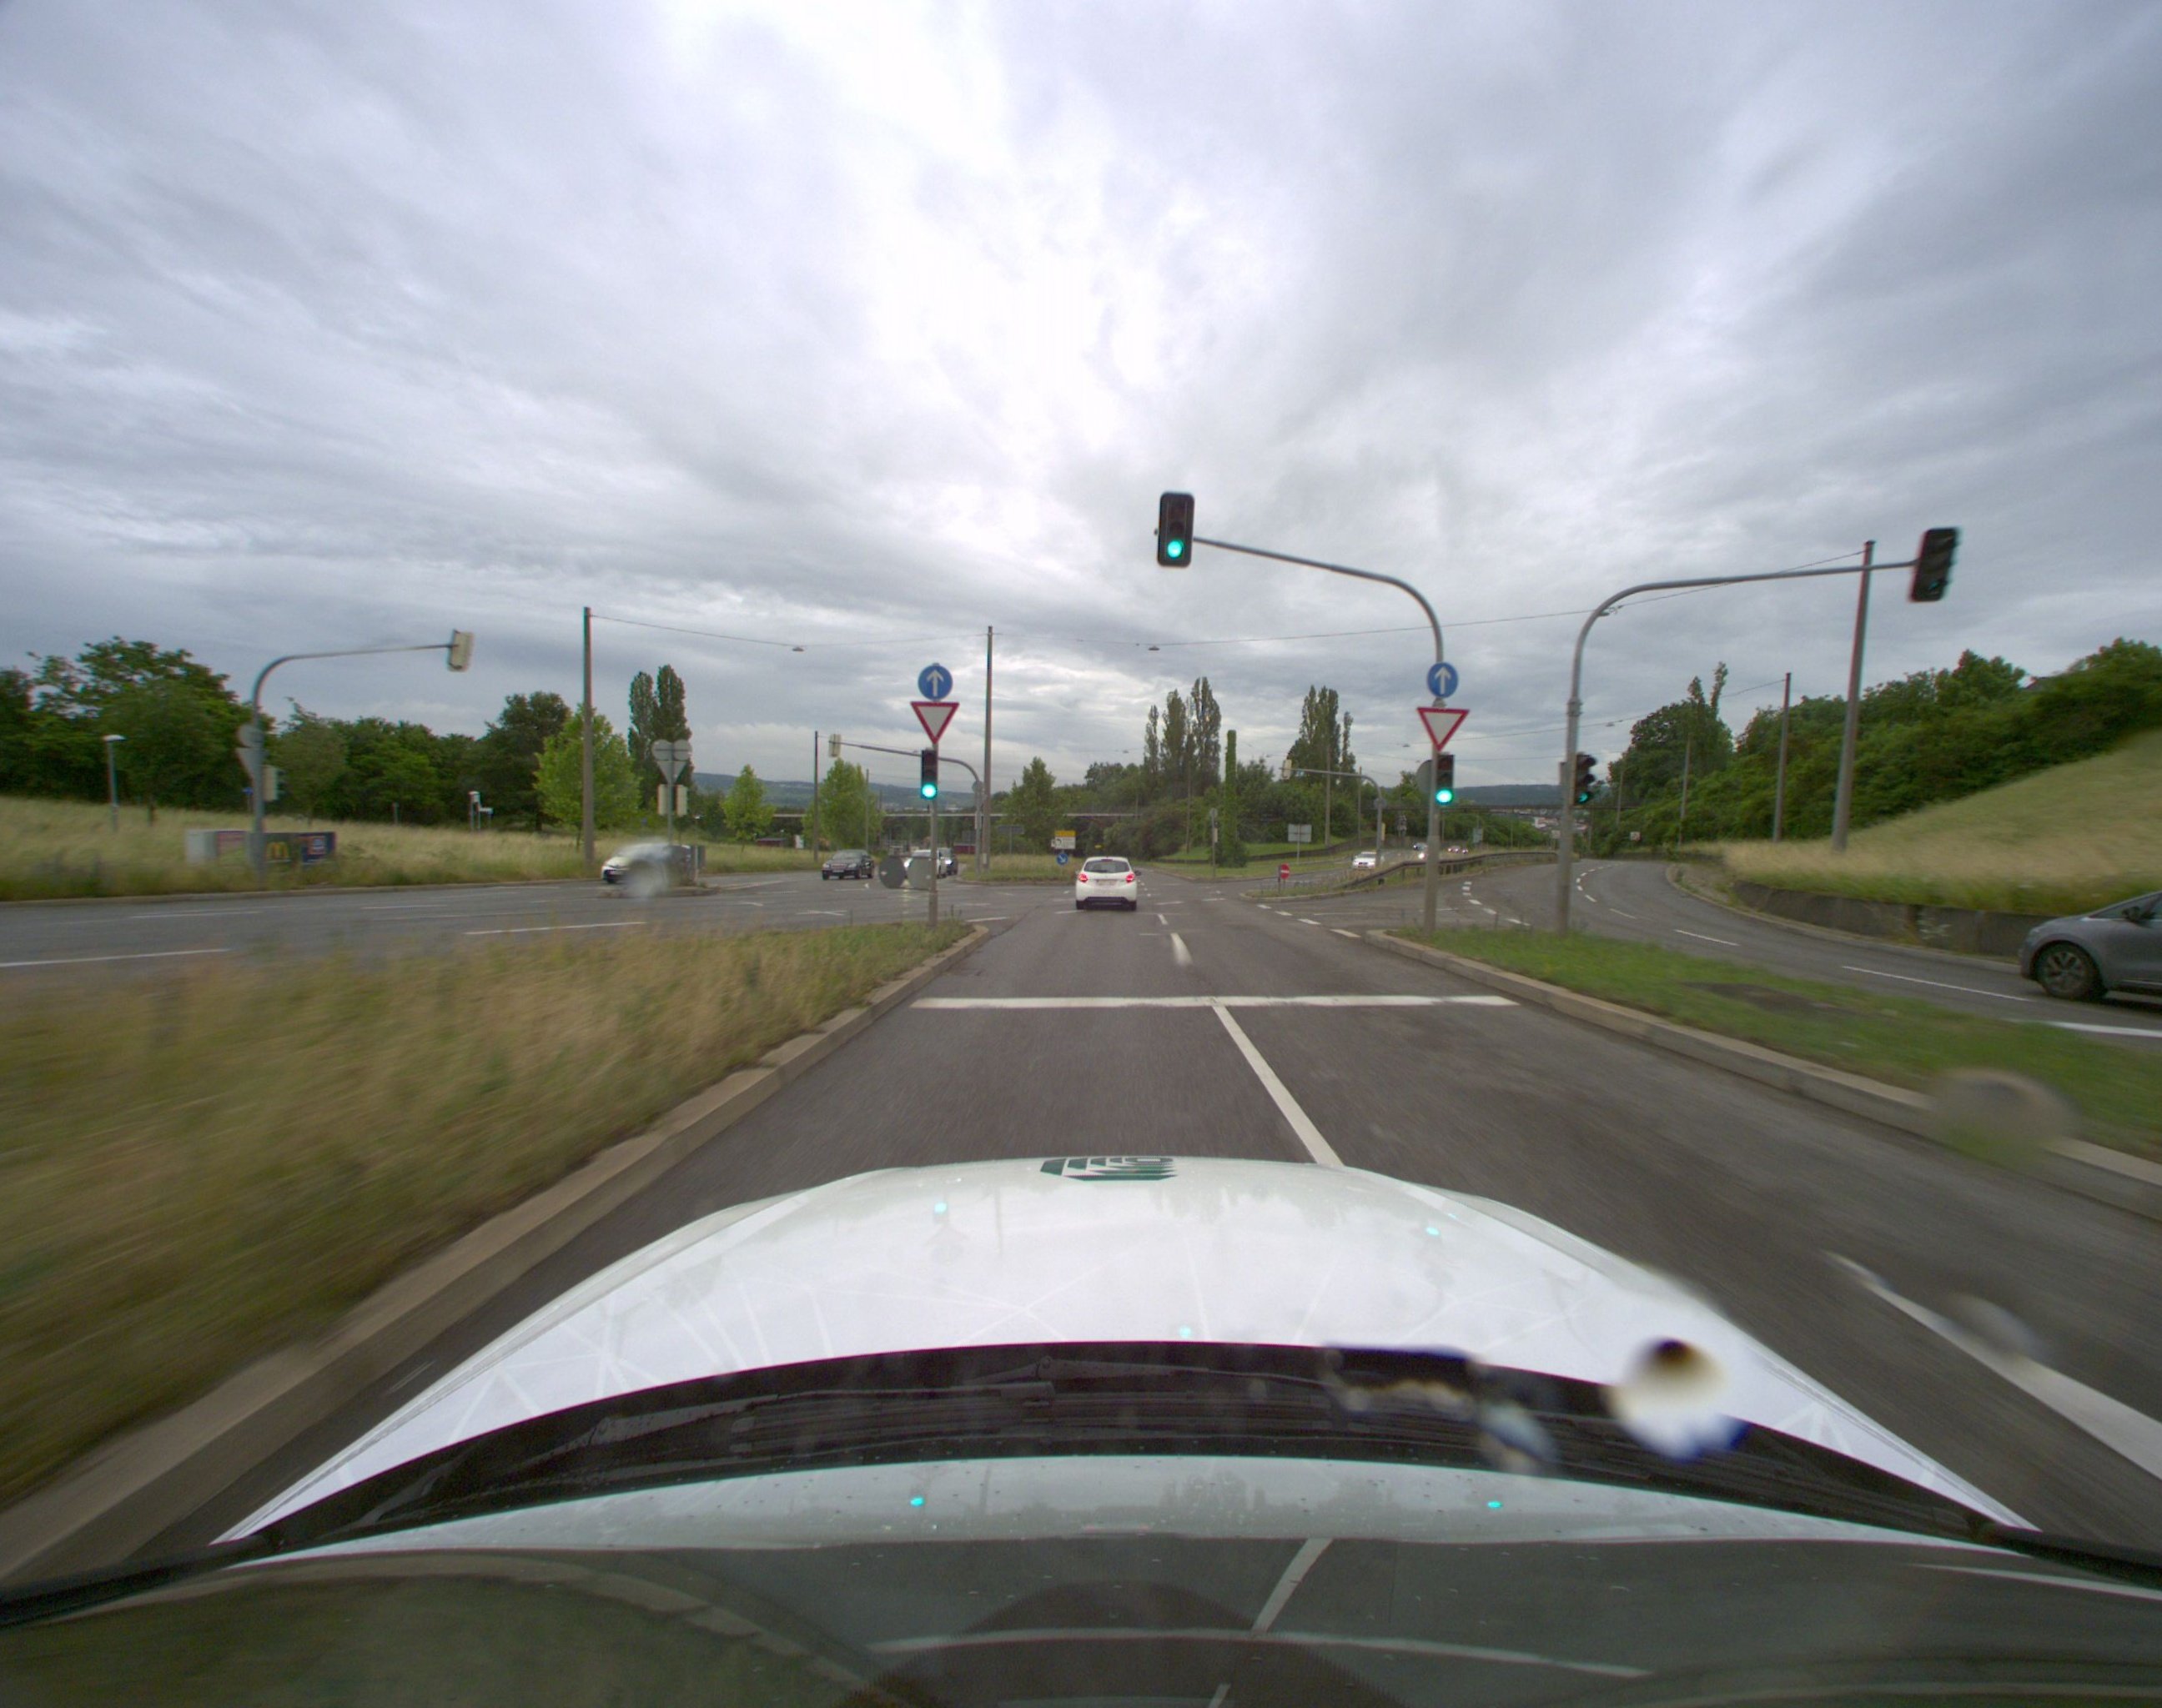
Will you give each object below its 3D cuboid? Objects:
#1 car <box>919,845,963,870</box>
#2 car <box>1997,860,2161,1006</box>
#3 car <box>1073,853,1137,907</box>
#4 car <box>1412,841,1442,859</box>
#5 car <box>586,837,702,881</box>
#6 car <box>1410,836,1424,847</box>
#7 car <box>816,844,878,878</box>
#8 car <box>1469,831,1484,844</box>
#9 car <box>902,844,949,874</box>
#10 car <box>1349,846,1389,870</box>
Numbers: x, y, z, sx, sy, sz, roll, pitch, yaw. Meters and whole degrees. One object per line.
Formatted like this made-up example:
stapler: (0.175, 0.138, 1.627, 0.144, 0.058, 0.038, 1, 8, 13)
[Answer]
car: (-8.245, 0.178, 48.299, 1.889, 1.324, 4.001, 1, 2, 1)
car: (13.135, 0.951, 8.803, 1.715, 1.649, 4.637, 3, 0, 9)
car: (0.730, 0.712, 23.624, 1.702, 1.440, 3.692, 0, -1, 2)
car: (36.688, -0.449, 86.275, 1.975, 1.617, 4.400, 3, 4, 34)
car: (-17.420, 0.212, 32.773, 1.877, 1.611, 4.680, 1, -1, 3)
car: (58.272, -2.220, 141.341, 1.861, 1.653, 4.151, 3, 4, 27)
car: (-11.098, 0.352, 38.920, 1.890, 1.537, 3.996, 1, -1, -2)
car: (66.293, -2.757, 136.420, 2.055, 2.083, 4.399, 3, 4, 27)
car: (-7.833, 0.268, 41.379, 1.733, 1.373, 3.996, 1, -1, -3)
car: (23.081, 0.307, 65.156, 1.975, 1.617, 4.026, 3, 4, 34)
